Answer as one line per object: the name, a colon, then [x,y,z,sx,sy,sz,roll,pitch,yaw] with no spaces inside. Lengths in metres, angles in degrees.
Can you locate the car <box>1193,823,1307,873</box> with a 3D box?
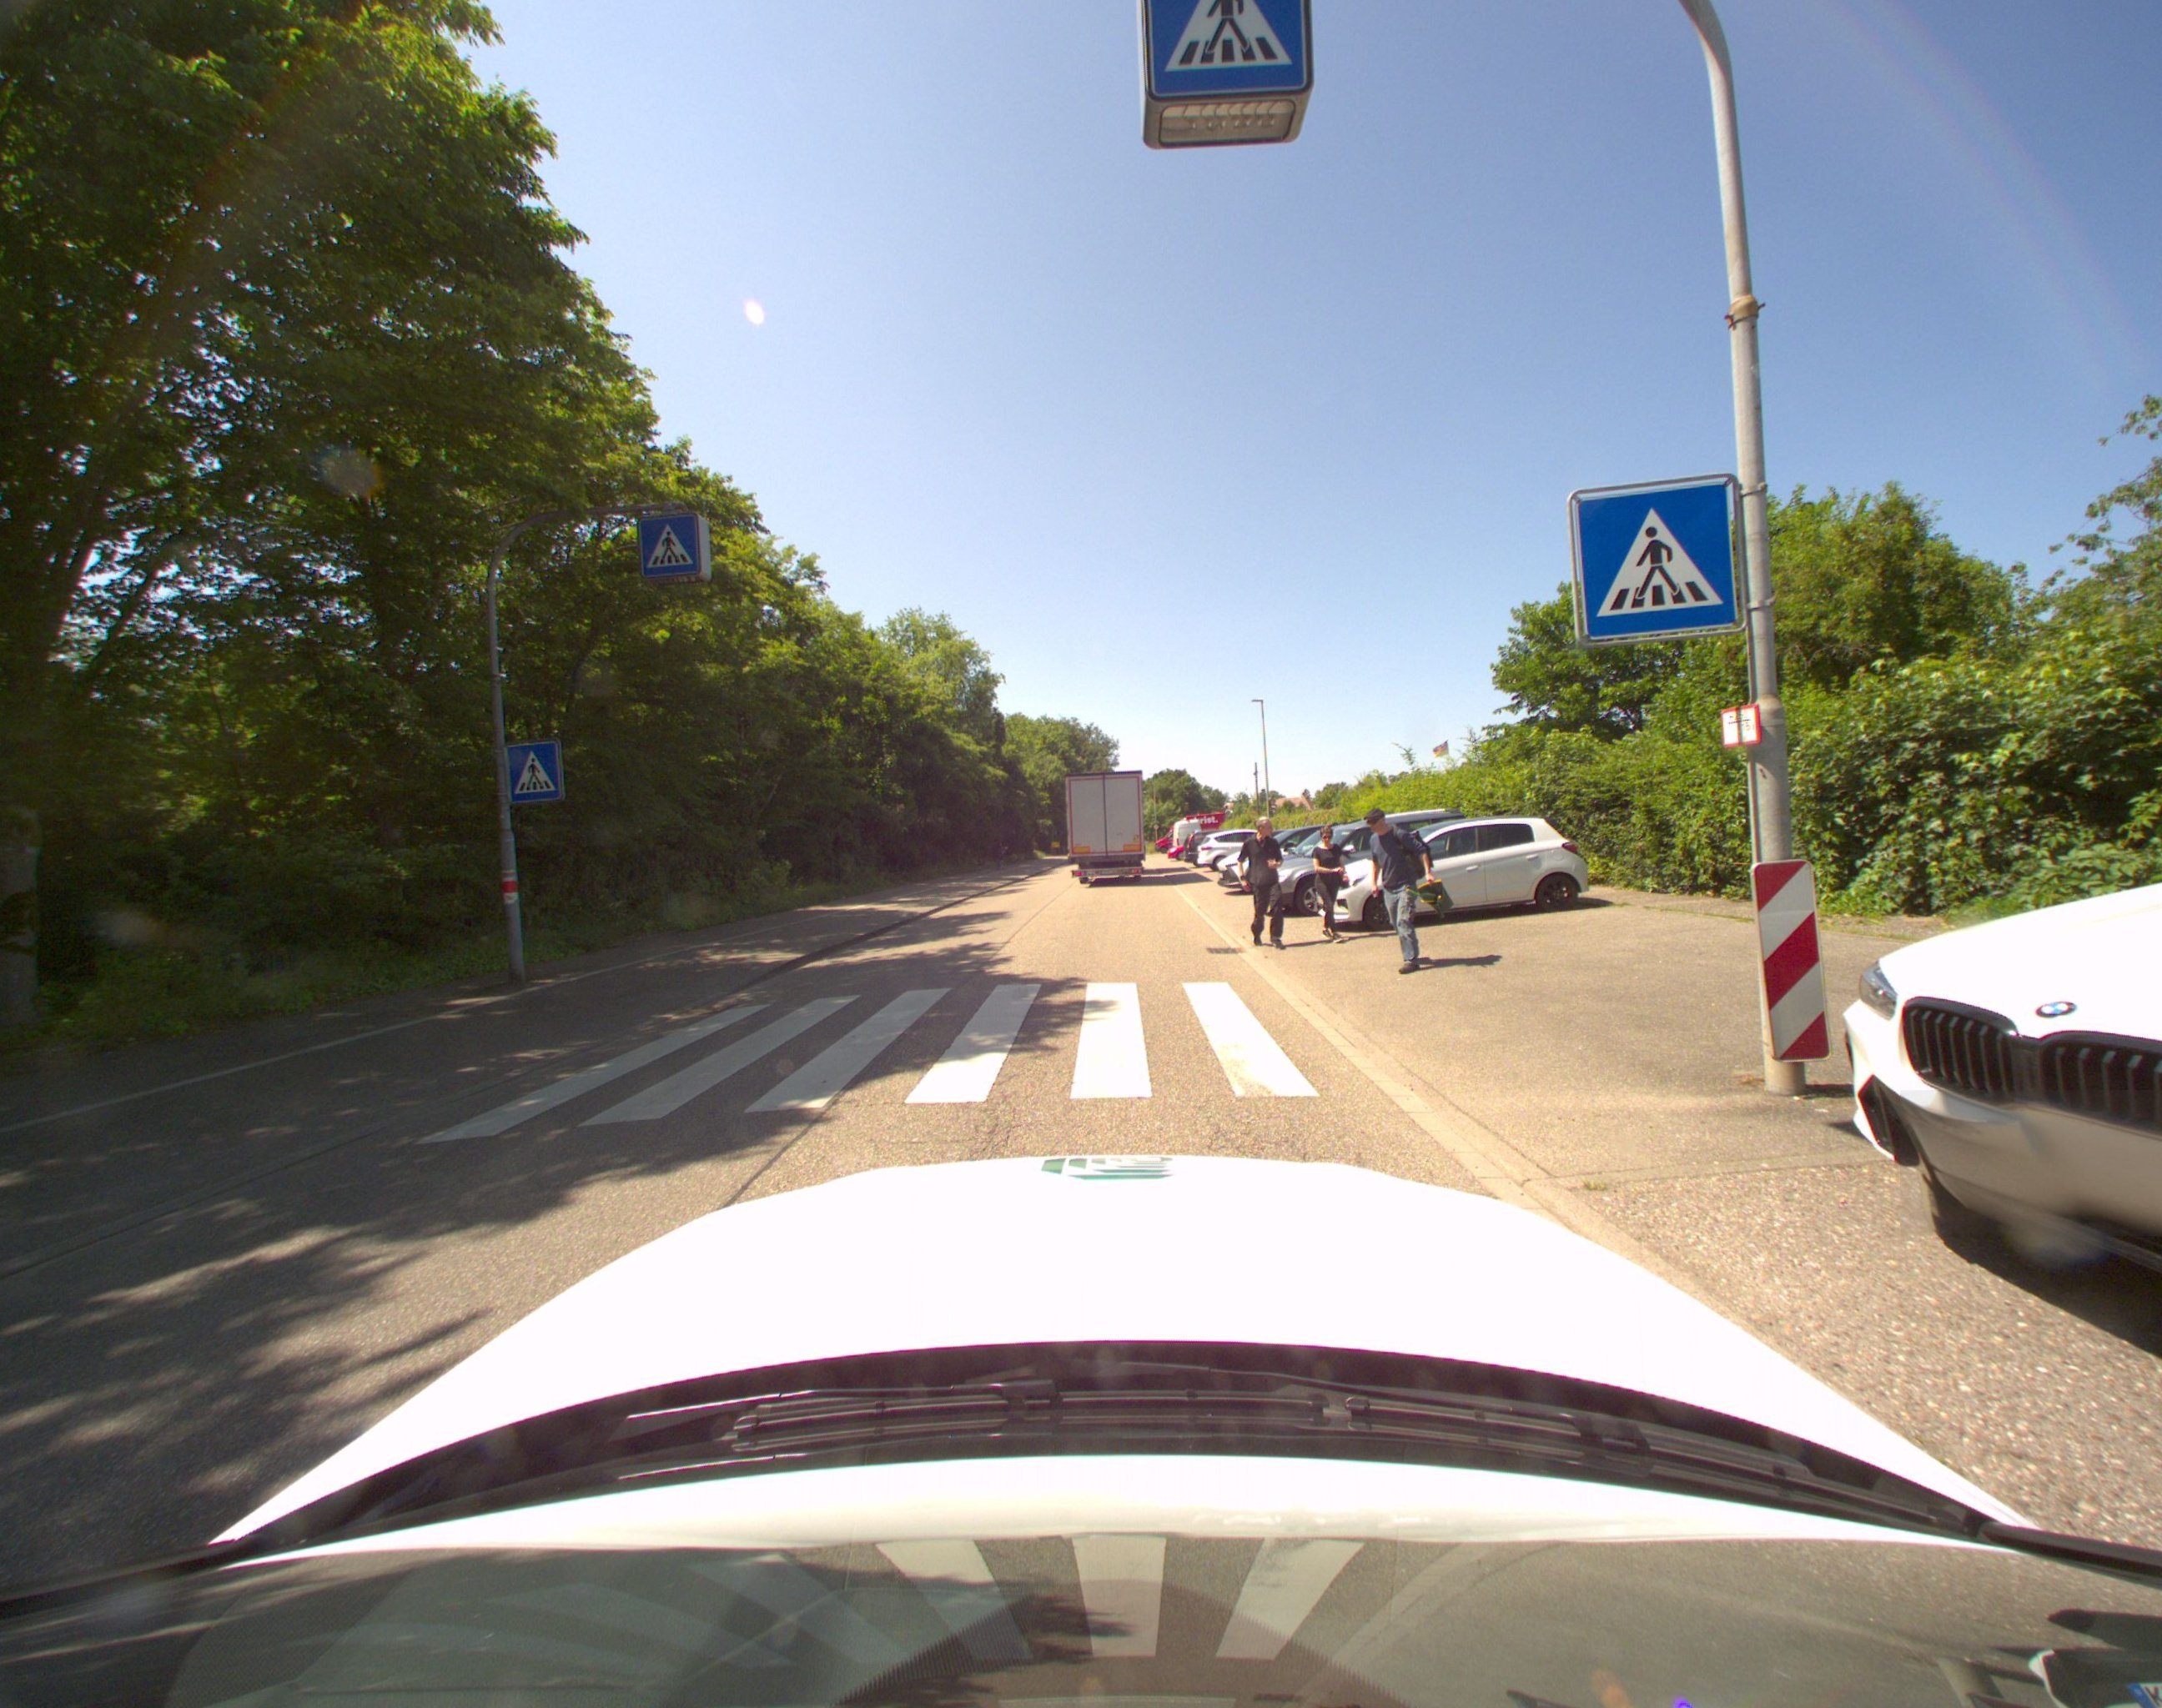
car: [6.911,-0.261,33.663,4.262,1.578,1.766,-6,1,0]

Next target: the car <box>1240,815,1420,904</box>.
car: [5.551,0.110,18.375,3.445,1.527,1.538,-7,1,-3]

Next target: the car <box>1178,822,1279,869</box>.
car: [7.182,-0.428,39.872,4.441,1.804,1.951,-6,0,-2]

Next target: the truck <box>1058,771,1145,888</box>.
truck: [1.068,-0.917,33.463,2.722,3.745,13.259,-2,1,4]

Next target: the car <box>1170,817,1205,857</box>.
car: [8.210,-1.328,63.318,1.946,2.733,7.175,-6,1,4]

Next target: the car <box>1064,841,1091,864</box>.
car: [-0.253,-0.155,65.380,1.884,1.532,4.198,-7,1,1]

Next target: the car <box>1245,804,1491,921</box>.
car: [5.352,0.134,15.462,3.952,1.640,1.662,-7,1,-3]

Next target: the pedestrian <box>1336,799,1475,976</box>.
pedestrian: [3.542,0.341,8.851,1.010,1.751,1.166,-6,0,35]

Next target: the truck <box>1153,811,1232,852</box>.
truck: [10.625,-2.141,77.283,7.087,3.439,2.339,-3,2,13]

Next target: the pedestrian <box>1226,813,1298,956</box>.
pedestrian: [2.520,0.394,11.452,0.776,1.864,1.089,-5,1,9]

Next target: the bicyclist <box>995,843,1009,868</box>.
bicyclist: [-5.150,0.067,53.120,0.645,1.565,0.838,-3,1,7]

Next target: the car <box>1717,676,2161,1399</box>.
car: [4.765,0.260,2.232,4.436,1.729,1.852,-5,0,2]

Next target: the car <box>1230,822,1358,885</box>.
car: [6.271,-0.031,24.221,3.371,1.503,1.591,-5,1,5]

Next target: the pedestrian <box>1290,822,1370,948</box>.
pedestrian: [3.430,0.400,11.303,0.773,1.611,0.899,-7,1,9]

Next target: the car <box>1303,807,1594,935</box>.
car: [5.503,0.235,12.573,3.671,1.450,1.613,-7,1,6]

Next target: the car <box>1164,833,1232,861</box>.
car: [7.516,-0.454,52.776,4.041,1.434,1.835,-6,1,-1]

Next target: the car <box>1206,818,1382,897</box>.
car: [5.467,0.072,21.248,3.954,1.522,1.862,-7,1,-3]

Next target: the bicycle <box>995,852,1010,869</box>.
bicycle: [-5.120,0.443,53.143,0.558,1.027,1.842,-3,1,7]
